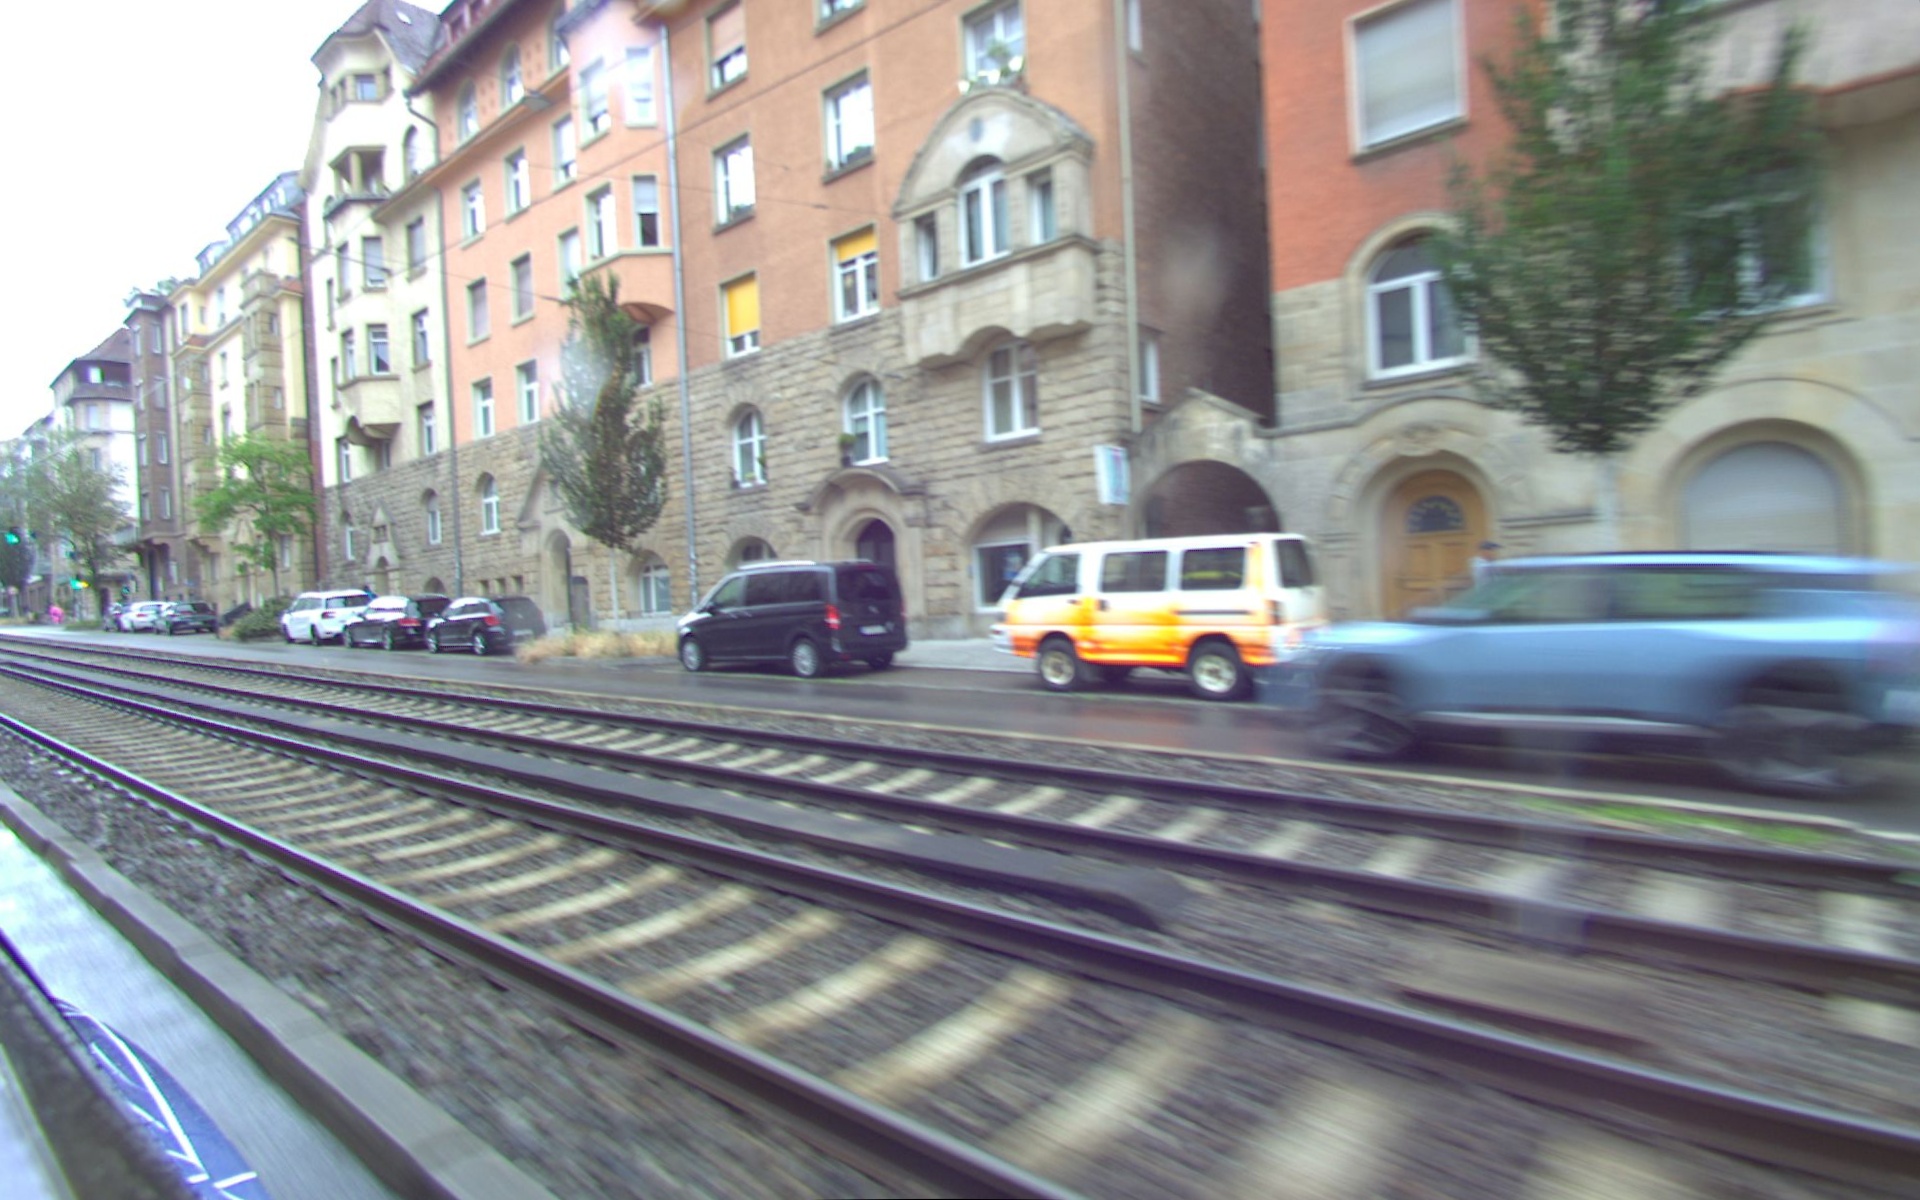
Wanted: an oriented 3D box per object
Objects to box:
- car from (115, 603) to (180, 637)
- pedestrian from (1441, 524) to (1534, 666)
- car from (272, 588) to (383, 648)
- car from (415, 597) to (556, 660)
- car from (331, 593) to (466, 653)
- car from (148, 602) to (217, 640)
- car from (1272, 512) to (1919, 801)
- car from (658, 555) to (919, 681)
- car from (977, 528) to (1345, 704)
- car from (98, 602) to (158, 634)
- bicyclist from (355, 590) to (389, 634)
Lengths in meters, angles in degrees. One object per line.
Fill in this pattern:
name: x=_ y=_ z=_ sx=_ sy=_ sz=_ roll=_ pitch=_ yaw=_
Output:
car: x=-39.144 y=0.923 z=48.710 sx=4.042 sy=1.462 sz=1.737 roll=0 pitch=4 yaw=42
pedestrian: x=6.839 y=-0.076 z=13.125 sx=0.892 sy=1.731 sz=0.710 roll=0 pitch=6 yaw=41
car: x=-20.411 y=0.540 z=32.606 sx=4.256 sy=1.684 sz=1.738 roll=0 pitch=4 yaw=40
car: x=-12.204 y=0.674 z=25.952 sx=3.690 sy=1.414 sz=1.739 roll=0 pitch=3 yaw=38
car: x=-16.103 y=0.609 z=28.931 sx=4.593 sy=1.502 sz=1.738 roll=0 pitch=3 yaw=39
car: x=-34.479 y=0.910 z=44.847 sx=3.711 sy=1.493 sz=1.695 roll=0 pitch=4 yaw=42
car: x=4.689 y=0.311 z=7.548 sx=4.124 sy=1.629 sz=1.902 roll=0 pitch=1 yaw=39
car: x=-3.143 y=0.269 z=17.944 sx=4.828 sy=1.945 sz=1.887 roll=0 pitch=1 yaw=40
car: x=2.500 y=0.174 z=13.266 sx=4.472 sy=1.945 sz=1.711 roll=0 pitch=1 yaw=39
car: x=-42.574 y=0.911 z=51.767 sx=3.711 sy=1.438 sz=1.737 roll=0 pitch=4 yaw=42
bicyclist: x=-21.980 y=0.424 z=37.818 sx=0.774 sy=1.613 sz=0.883 roll=0 pitch=0 yaw=40
